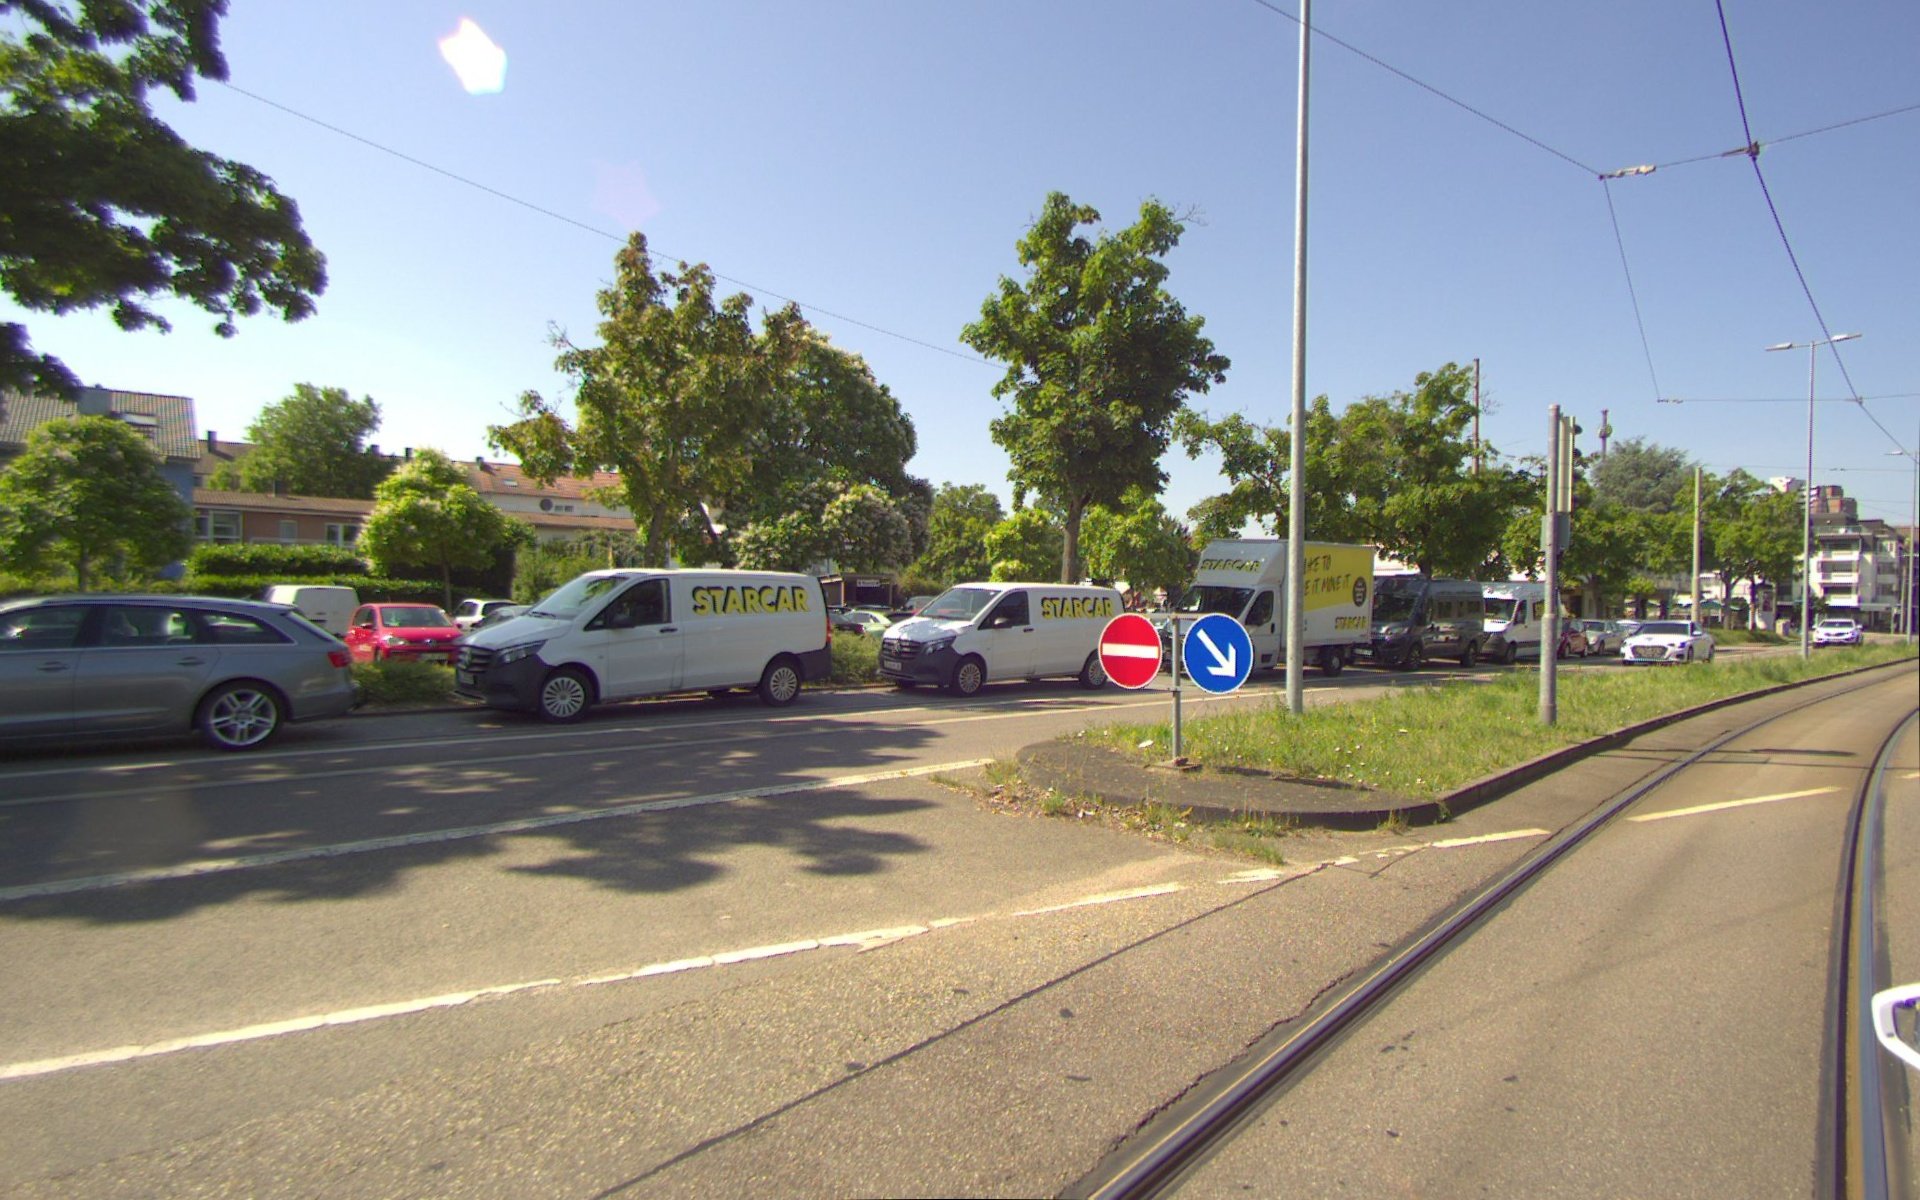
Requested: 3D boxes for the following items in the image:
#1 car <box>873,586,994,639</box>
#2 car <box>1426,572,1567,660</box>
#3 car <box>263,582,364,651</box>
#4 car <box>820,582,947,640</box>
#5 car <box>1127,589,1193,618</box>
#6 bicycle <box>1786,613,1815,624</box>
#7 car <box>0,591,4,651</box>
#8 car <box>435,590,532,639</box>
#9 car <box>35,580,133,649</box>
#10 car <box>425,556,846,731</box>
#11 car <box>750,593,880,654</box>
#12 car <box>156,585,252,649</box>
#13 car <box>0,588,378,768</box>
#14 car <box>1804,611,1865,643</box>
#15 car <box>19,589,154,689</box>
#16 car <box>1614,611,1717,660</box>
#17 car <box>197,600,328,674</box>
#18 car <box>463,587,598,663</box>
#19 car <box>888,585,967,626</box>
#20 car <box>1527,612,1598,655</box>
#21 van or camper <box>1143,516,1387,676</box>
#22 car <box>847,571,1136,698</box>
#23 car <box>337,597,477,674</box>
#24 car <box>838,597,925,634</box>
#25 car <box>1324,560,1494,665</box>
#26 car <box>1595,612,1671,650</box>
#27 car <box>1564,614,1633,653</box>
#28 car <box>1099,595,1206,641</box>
[{"bbox_3d":[-0.877,0.377,31.461,1.651,1.564,3.951,1,0,-42],"label":"car"},{"bbox_3d":[18.033,0.492,33.617,5.934,2.666,2.176,0,2,-42],"label":"car"},{"bbox_3d":[-19.332,0.441,29.964,1.774,1.916,3.946,0,0,-45],"label":"car"},{"bbox_3d":[-2.277,0.295,29.243,1.651,1.564,3.951,1,0,-42],"label":"car"},{"bbox_3d":[16.127,0.278,81.111,2.086,2.203,4.880,1,0,-44],"label":"car"},{"bbox_3d":[74.899,1.624,89.526,2.134,0.934,0.553,0,0,2],"label":"bicycle"},{"bbox_3d":[-25.481,0.502,25.536,1.691,1.455,3.948,0,0,-44],"label":"car"},{"bbox_3d":[-16.231,0.447,34.119,1.774,1.565,3.946,0,0,-45],"label":"car"},{"bbox_3d":[-23.900,0.365,27.367,1.774,1.751,3.946,0,0,-45],"label":"car"},{"bbox_3d":[-4.278,0.480,13.943,2.172,1.967,5.153,3,2,44],"label":"car"},{"bbox_3d":[-4.044,0.599,27.645,1.651,1.564,3.951,1,0,-42],"label":"car"},{"bbox_3d":[-22.070,0.452,29.273,1.724,1.751,3.946,0,0,-45],"label":"car"},{"bbox_3d":[-8.448,0.658,9.459,4.850,1.474,1.914,1,1,-43],"label":"car"},{"bbox_3d":[48.044,1.451,55.175,4.625,1.618,2.024,0,0,-43],"label":"car"},{"bbox_3d":[-15.490,0.620,17.830,1.651,1.564,3.951,1,0,-42],"label":"car"},{"bbox_3d":[22.472,1.075,31.922,4.303,1.441,1.775,1,0,-42],"label":"car"},{"bbox_3d":[-13.677,0.650,19.616,1.651,1.288,3.880,1,0,-42],"label":"car"},{"bbox_3d":[-9.784,0.526,22.760,1.651,1.564,3.951,1,0,-42],"label":"car"},{"bbox_3d":[-1.716,0.278,51.615,1.898,2.030,3.946,0,0,-45],"label":"car"},{"bbox_3d":[22.719,1.233,37.827,3.649,1.510,1.280,1,0,-42],"label":"car"},{"bbox_3d":[7.346,-0.102,23.676,6.718,3.285,2.176,0,2,-41],"label":"van or camper"},{"bbox_3d":[0.700,0.543,18.355,5.144,1.967,2.176,0,2,-41],"label":"car"},{"bbox_3d":[-11.557,0.676,20.875,1.719,1.428,3.951,0,0,-42],"label":"car"},{"bbox_3d":[-3.528,0.660,44.937,1.774,1.565,3.946,0,0,-45],"label":"car"},{"bbox_3d":[13.089,0.315,29.063,6.033,2.704,2.176,0,2,-42],"label":"car"},{"bbox_3d":[29.826,1.312,44.445,4.580,1.510,1.590,0,2,-41],"label":"car"},{"bbox_3d":[26.035,1.315,40.887,4.319,1.510,1.280,1,0,-42],"label":"car"},{"bbox_3d":[7.471,0.667,39.221,1.651,1.717,3.951,1,0,-42],"label":"car"}]
